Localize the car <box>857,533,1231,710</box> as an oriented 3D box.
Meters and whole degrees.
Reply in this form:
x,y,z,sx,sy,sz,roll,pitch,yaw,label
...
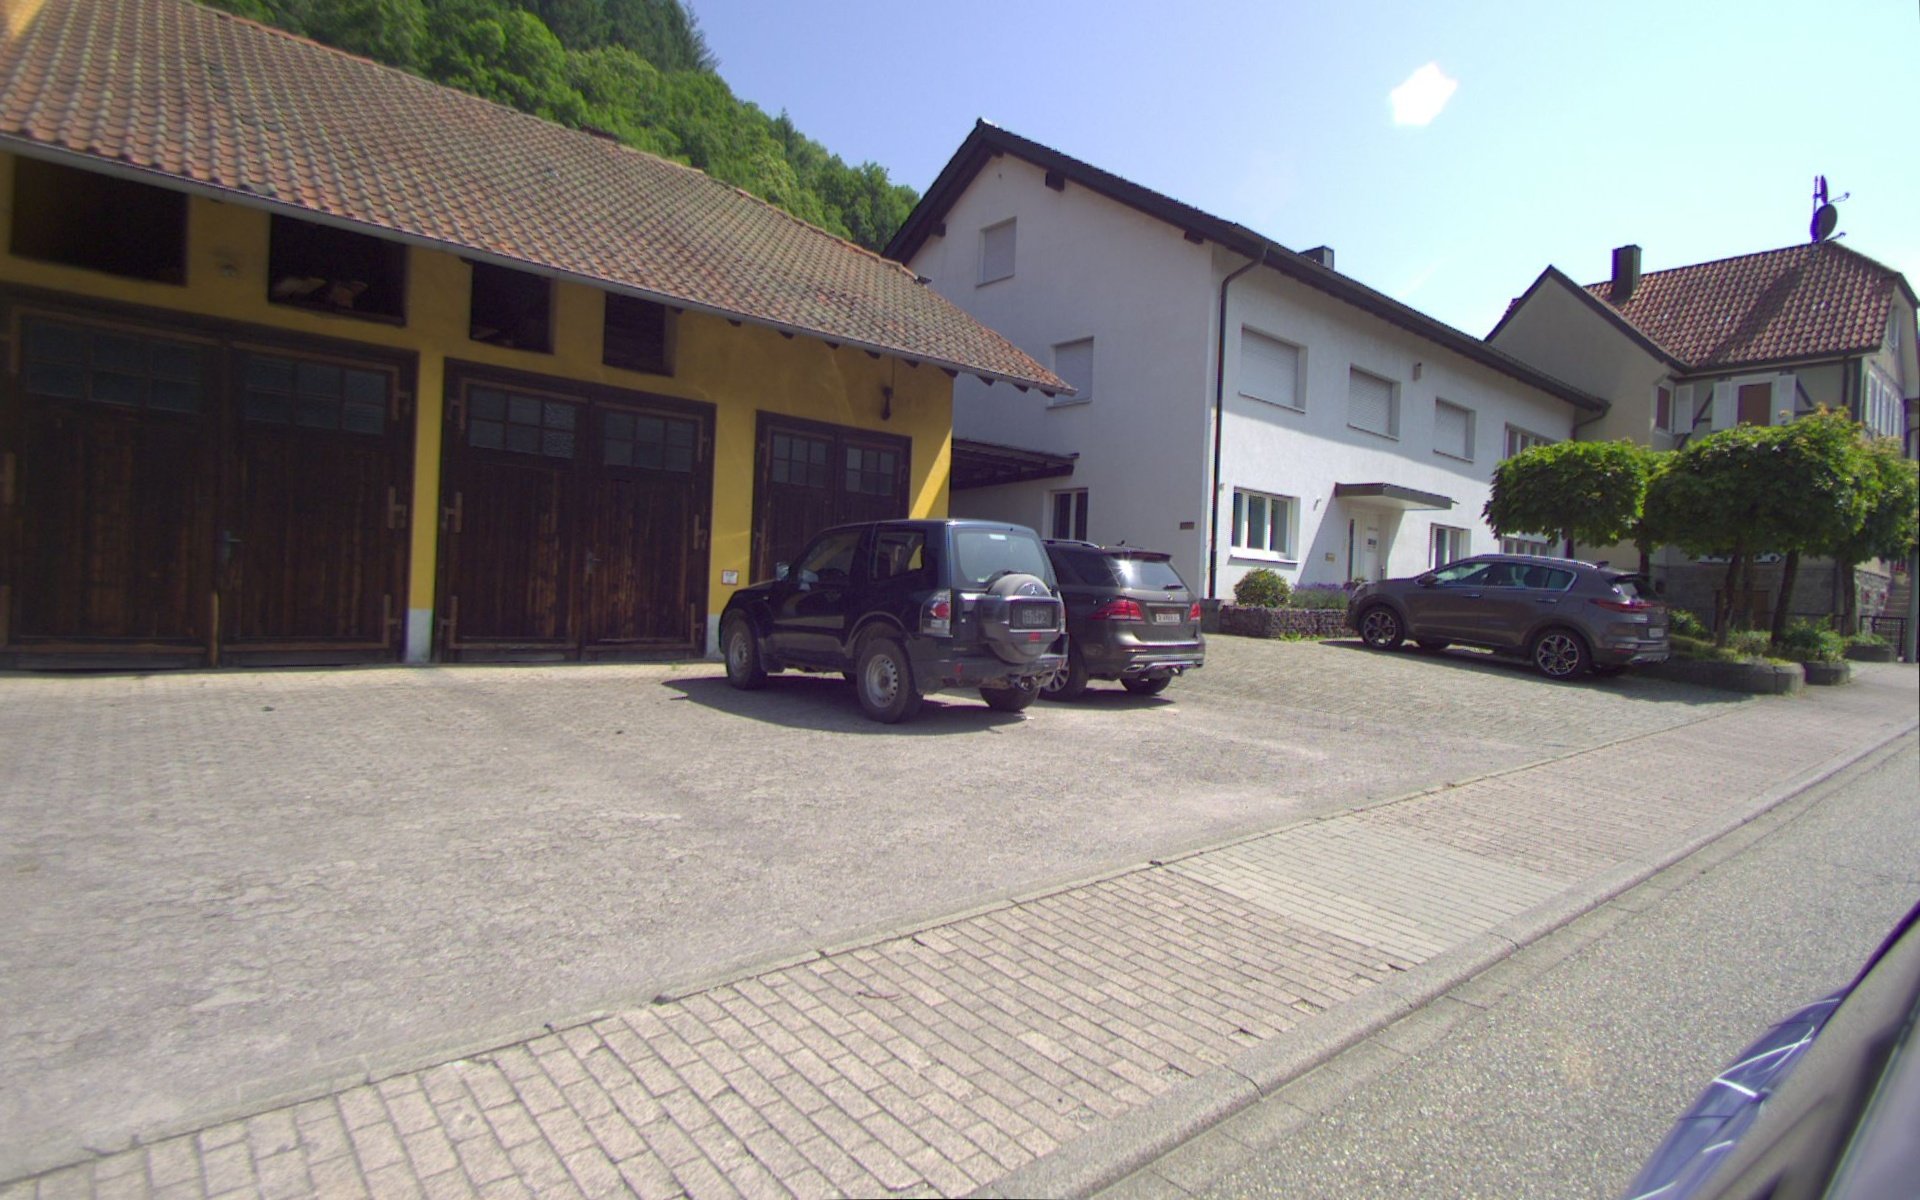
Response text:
x,y,z,sx,sy,sz,roll,pitch,yaw,label
0.867,0.108,12.542,1.921,1.781,4.424,0,3,-44,car

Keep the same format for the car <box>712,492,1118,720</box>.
x,y,z,sx,sy,sz,roll,pitch,yaw,label
-0.641,-0.061,10.388,1.921,1.855,4.132,0,3,-43,car

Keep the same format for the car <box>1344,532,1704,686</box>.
x,y,z,sx,sy,sz,roll,pitch,yaw,label
8.207,0.009,15.129,1.743,1.706,4.239,0,6,-36,car

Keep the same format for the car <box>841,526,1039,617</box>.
x,y,z,sx,sy,sz,roll,pitch,yaw,label
-0.494,-0.626,20.612,1.839,1.664,3.994,0,3,-42,car
